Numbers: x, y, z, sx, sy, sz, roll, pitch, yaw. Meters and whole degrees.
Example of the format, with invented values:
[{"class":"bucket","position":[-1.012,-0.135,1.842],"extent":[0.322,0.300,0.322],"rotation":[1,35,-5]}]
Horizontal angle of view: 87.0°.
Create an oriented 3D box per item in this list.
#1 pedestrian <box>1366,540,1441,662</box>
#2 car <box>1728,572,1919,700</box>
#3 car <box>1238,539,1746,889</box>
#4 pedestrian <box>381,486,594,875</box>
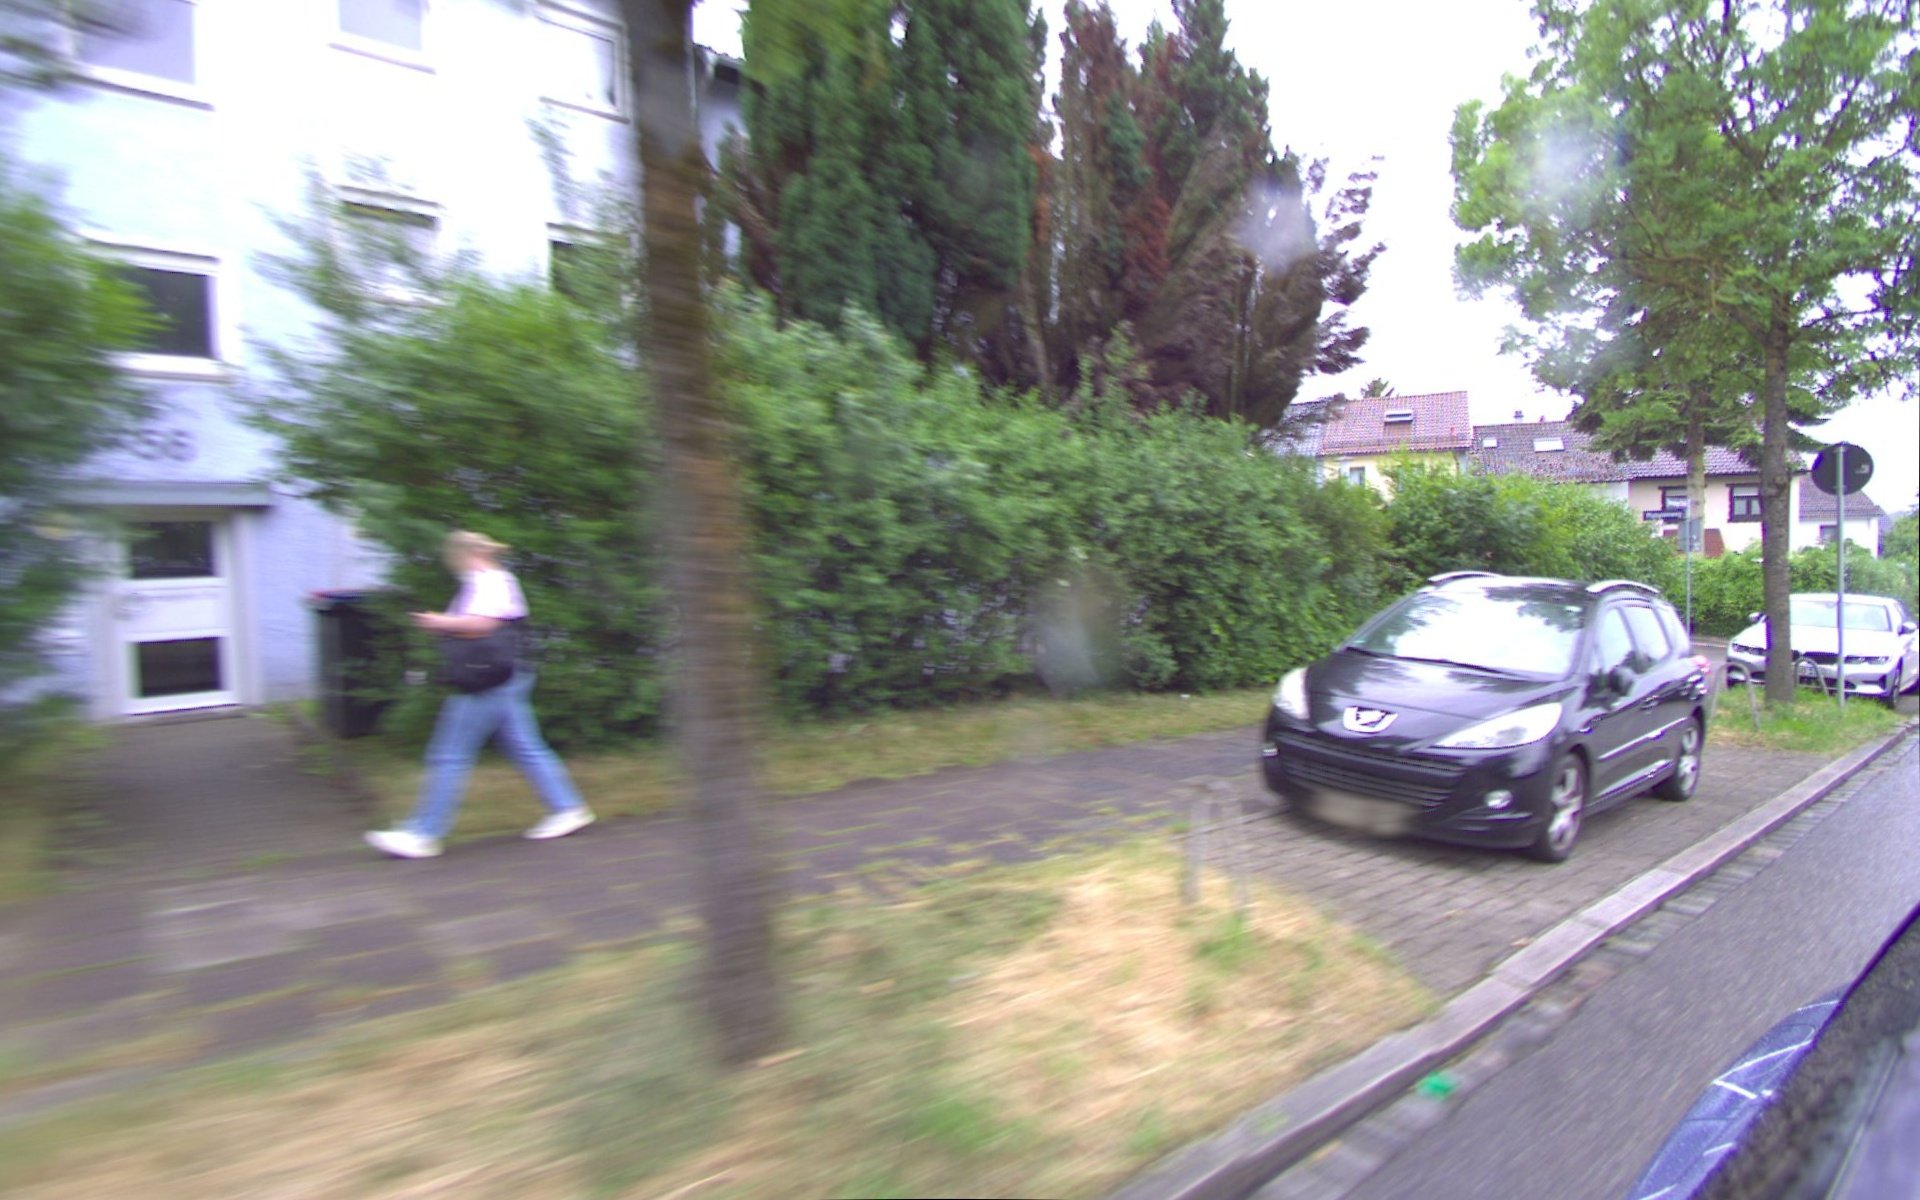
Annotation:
[{"class":"pedestrian","position":[6.358,-0.003,14.515],"extent":[0.641,1.700,0.710],"rotation":[0,2,-33]},{"class":"car","position":[12.886,0.419,14.718],"extent":[4.511,1.540,1.803],"rotation":[0,3,-41]},{"class":"car","position":[3.726,0.503,6.775],"extent":[3.945,1.614,1.645],"rotation":[0,5,-42]},{"class":"pedestrian","position":[-2.320,0.336,4.944],"extent":[0.877,1.700,0.720],"rotation":[0,2,-30]}]
